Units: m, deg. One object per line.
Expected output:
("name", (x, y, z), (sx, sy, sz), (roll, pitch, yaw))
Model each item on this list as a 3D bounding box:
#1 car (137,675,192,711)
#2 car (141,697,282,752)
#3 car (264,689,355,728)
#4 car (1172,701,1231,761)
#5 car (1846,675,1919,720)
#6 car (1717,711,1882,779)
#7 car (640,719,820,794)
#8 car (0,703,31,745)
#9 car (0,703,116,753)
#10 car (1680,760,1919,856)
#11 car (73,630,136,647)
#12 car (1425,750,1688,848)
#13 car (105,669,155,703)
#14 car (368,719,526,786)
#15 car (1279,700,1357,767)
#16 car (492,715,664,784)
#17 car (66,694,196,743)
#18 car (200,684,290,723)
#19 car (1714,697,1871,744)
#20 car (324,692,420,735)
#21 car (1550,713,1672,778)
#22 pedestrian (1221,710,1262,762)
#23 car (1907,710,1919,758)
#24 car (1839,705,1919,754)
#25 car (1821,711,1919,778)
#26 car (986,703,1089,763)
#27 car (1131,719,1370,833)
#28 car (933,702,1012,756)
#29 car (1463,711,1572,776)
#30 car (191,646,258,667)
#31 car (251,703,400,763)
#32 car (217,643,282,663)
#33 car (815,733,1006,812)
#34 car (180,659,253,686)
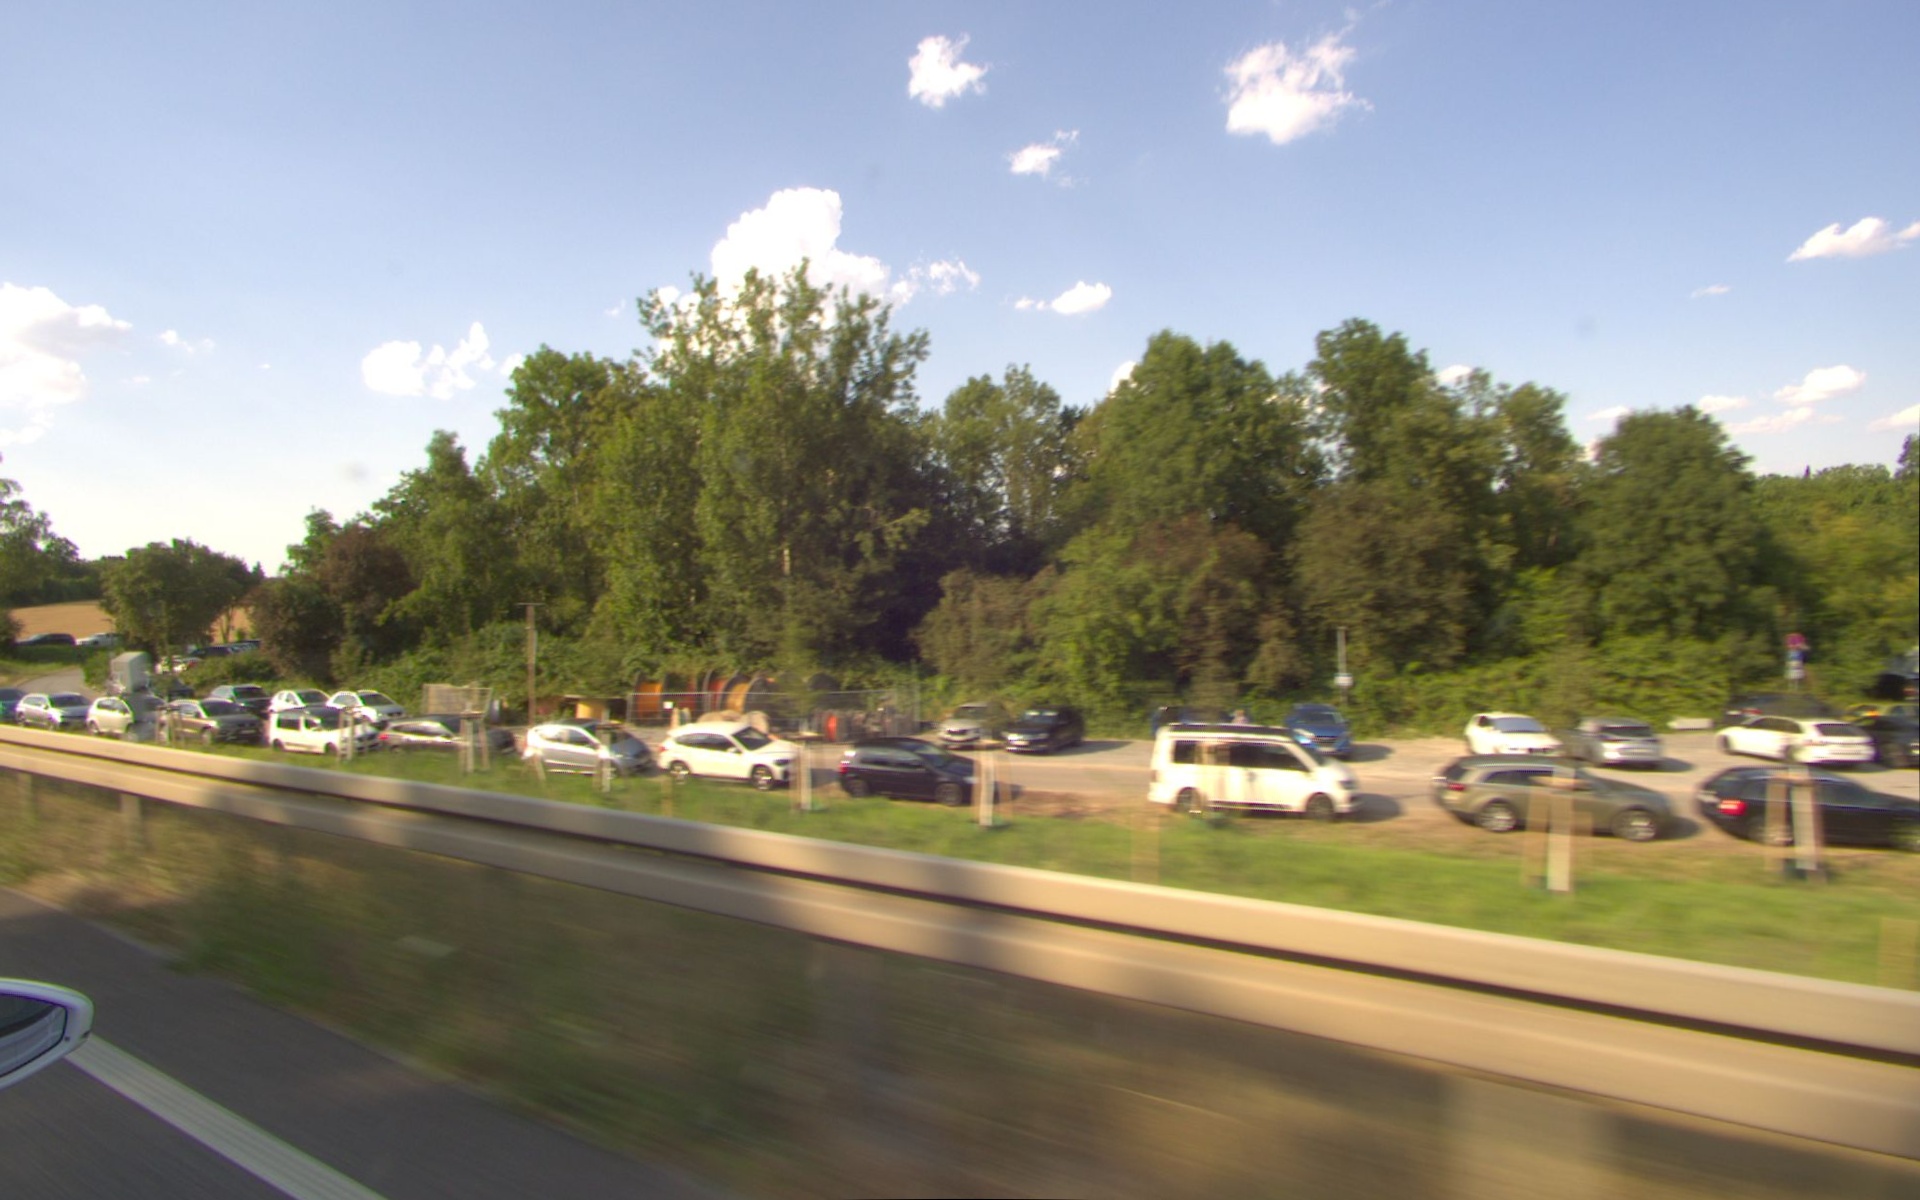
("car", (-41.847, 4.859, 52.643), (4.735, 1.418, 1.690), (0, 2, 45))
("car", (-28.156, 4.634, 37.672), (4.698, 1.581, 1.893), (0, 3, 19))
("car", (-29.071, 4.816, 44.739), (3.884, 1.418, 1.698), (-1, 2, 29))
("car", (8.389, 4.454, 34.569), (1.800, 1.625, 4.243), (-1, -2, 15))
("car", (41.460, 4.265, 44.126), (1.586, 1.476, 4.242), (0, 2, 10))
("car", (25.481, 4.351, 30.624), (1.701, 1.475, 4.415), (0, -1, 6))
("car", (-6.604, 4.455, 28.889), (4.695, 1.581, 1.894), (0, 3, 16))
("car", (-43.464, 5.422, 43.975), (4.698, 1.581, 1.893), (0, 3, 19))
("car", (-38.285, 5.375, 42.246), (4.698, 1.581, 1.893), (0, 3, 19))
("car", (18.077, 4.344, 21.091), (4.312, 1.502, 1.821), (0, 1, 12))
("car", (-83.239, 3.730, 97.506), (1.961, 1.526, 4.645), (0, -2, 5))
("car", (13.147, 4.376, 22.439), (4.695, 1.503, 1.894), (0, 3, 16))
("car", (-46.544, 4.773, 56.111), (4.056, 1.418, 1.690), (2, 4, 45))
("car", (-16.891, 4.972, 32.988), (4.698, 1.581, 1.893), (0, 3, 19))
("car", (11.867, 4.384, 33.447), (1.799, 1.765, 4.246), (0, -1, 11))
("car", (-11.680, 4.532, 30.704), (4.695, 1.581, 1.894), (0, 3, 16))
("car", (-33.412, 4.725, 40.378), (4.698, 1.580, 1.894), (0, 0, 19))
("car", (-33.586, 4.827, 47.018), (4.715, 1.418, 1.697), (-1, 2, 32))
("car", (30.096, 4.348, 36.299), (4.164, 1.475, 1.617), (0, 1, 5))
("car", (-25.138, 4.822, 42.801), (3.882, 1.530, 1.700), (-1, 0, 27))
("car", (19.829, 4.386, 30.709), (1.587, 1.474, 4.247), (-1, -2, 10))
("pedestrian", (9.022, 4.345, 32.144), (0.906, 1.491, 0.885), (-2, 2, -23))
("car", (31.119, 4.313, 30.204), (1.586, 1.475, 4.244), (0, 0, 10))
("car", (32.595, 4.414, 34.232), (3.604, 1.475, 1.499), (0, 1, 5))
("car", (28.372, 4.327, 30.282), (1.586, 1.475, 4.245), (0, -1, 10))
("car", (2.731, 4.504, 34.398), (1.806, 1.509, 4.227), (2, 0, 31))
("car", (6.920, 4.157, 24.195), (5.281, 2.046, 2.121), (0, 3, 16))
("car", (0.521, 4.575, 35.975), (1.800, 1.509, 4.242), (-1, -2, 16))
("car", (17.273, 4.394, 31.241), (1.738, 1.517, 4.246), (0, -2, 11))
("car", (-65.318, 5.039, 89.037), (4.526, 1.713, 1.796), (0, -1, -27))
("car", (-22.440, 4.668, 35.423), (4.698, 1.581, 1.893), (0, 3, 19))
("car", (-65.032, 4.862, 91.676), (4.508, 1.713, 1.803), (0, 0, -7))
("car", (-1.280, 4.525, 26.616), (4.695, 1.503, 1.894), (0, 3, 16))
("car", (-49.597, 4.796, 66.808), (3.740, 1.563, 1.638), (1, -1, -45))
